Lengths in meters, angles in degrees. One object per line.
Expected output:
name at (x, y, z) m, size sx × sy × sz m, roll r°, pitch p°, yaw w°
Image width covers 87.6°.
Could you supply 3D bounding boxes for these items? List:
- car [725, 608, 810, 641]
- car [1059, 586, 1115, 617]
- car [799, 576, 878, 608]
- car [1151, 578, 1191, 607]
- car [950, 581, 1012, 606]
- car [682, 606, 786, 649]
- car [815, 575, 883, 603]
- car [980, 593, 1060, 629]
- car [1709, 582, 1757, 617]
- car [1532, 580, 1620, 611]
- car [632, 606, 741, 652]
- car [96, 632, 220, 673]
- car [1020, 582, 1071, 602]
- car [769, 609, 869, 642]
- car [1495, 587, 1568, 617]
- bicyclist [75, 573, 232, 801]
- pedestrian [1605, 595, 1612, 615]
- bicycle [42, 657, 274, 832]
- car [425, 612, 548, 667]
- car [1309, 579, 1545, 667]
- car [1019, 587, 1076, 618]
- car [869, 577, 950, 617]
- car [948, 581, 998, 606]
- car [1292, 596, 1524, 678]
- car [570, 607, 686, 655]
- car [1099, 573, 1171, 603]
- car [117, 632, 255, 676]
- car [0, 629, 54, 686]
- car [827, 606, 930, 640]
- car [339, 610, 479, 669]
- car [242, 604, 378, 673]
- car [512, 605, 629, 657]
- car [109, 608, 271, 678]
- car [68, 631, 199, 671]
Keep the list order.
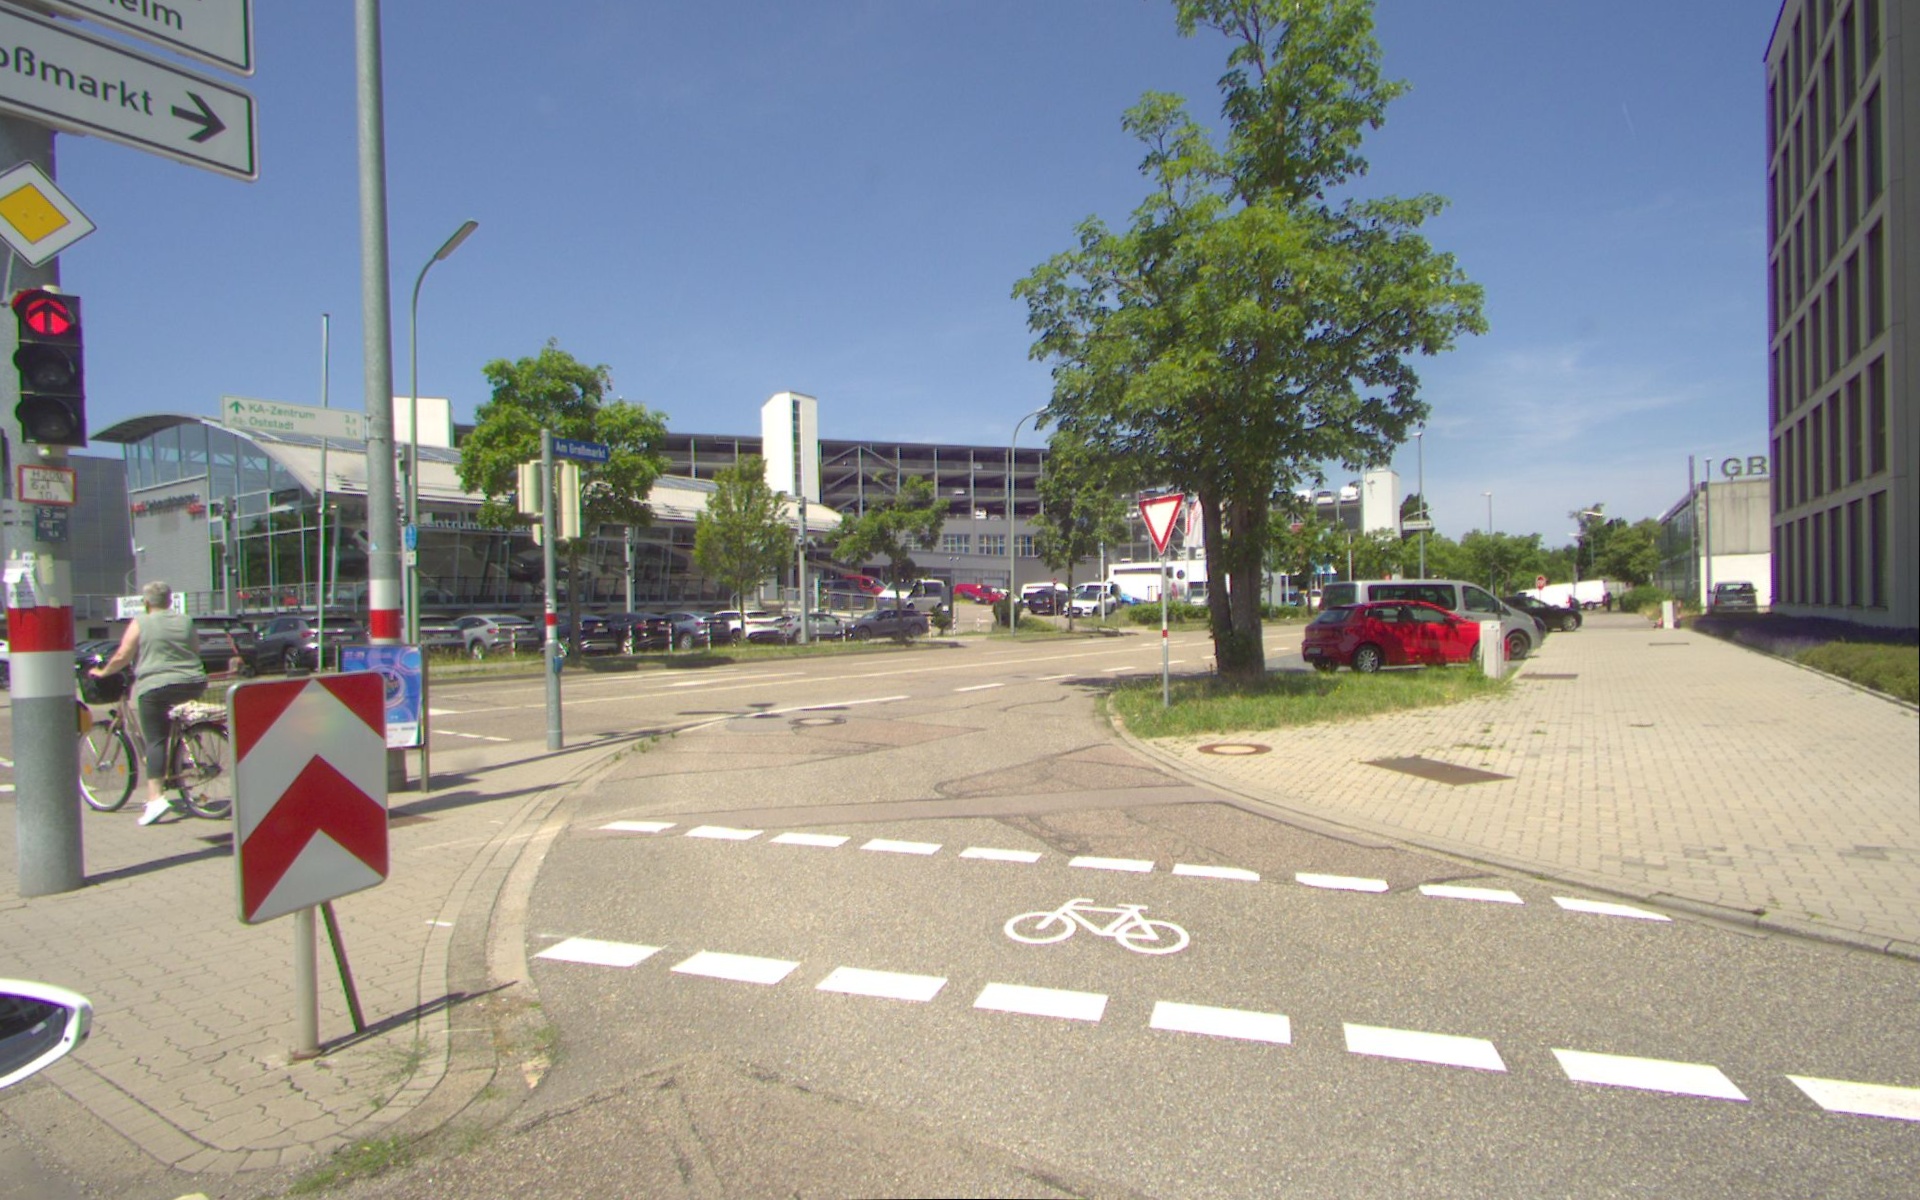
car at (-9.953, 1.240, 51.715) m, size 3.938 × 1.591 × 1.842 m, roll -1°, pitch 0°, yaw -28°
car at (7.663, 0.138, 60.229) m, size 1.970 × 1.727 × 3.983 m, roll -1°, pitch -2°, yaw 30°
car at (-6.810, -0.427, 56.545) m, size 1.888 × 1.730 × 4.560 m, roll -1°, pitch 0°, yaw 35°
car at (16.411, -0.555, 77.674) m, size 1.812 × 2.039 × 3.981 m, roll -1°, pitch -2°, yaw 31°
car at (1.648, -0.494, 78.020) m, size 4.525 × 1.821 × 1.903 m, roll -1°, pitch 0°, yaw 34°
car at (-9.293, 1.159, 41.172) m, size 3.937 × 1.675 × 1.844 m, roll -1°, pitch -3°, yaw 28°
car at (-7.327, -0.714, 66.047) m, size 4.082 × 1.745 × 1.907 m, roll -1°, pitch 0°, yaw 25°
car at (3.069, 0.550, 50.256) m, size 1.888 × 1.717 × 4.560 m, roll -1°, pitch 0°, yaw 35°
car at (42.215, 0.012, 54.752) m, size 1.772 × 1.750 × 3.978 m, roll -1°, pitch -2°, yaw 34°
car at (55.301, -0.355, 89.955) m, size 6.606 × 2.552 × 2.206 m, roll -1°, pitch -2°, yaw 35°
car at (-10.628, 1.159, 38.886) m, size 3.937 × 1.675 × 1.844 m, roll -1°, pitch -3°, yaw 28°
car at (-32.918, 2.161, 41.175) m, size 1.619 × 1.600 × 3.642 m, roll -1°, pitch -3°, yaw 32°
car at (7.850, -0.722, 92.255) m, size 4.294 × 1.674 × 1.904 m, roll -1°, pitch 0°, yaw 31°
car at (-6.976, 1.247, 49.596) m, size 4.527 × 1.491 × 1.902 m, roll -1°, pitch 0°, yaw -34°
car at (41.489, 0.206, 72.701) m, size 4.513 × 2.039 × 1.990 m, roll -1°, pitch -2°, yaw 33°
bicyclist at (-6.124, 0.638, 7.614) m, size 0.812 × 1.626 × 0.628 m, roll -1°, pitch -1°, yaw 26°
pedestrian at (50.998, 0.393, 78.745) m, size 0.399 × 1.580 × 0.546 m, roll -1°, pitch 1°, yaw 33°
bicycle at (-6.101, 1.034, 7.600) m, size 1.864 × 1.148 × 0.628 m, roll 0°, pitch -1°, yaw 26°
car at (-15.075, 1.203, 31.833) m, size 3.758 × 1.637 × 1.635 m, roll 0°, pitch 0°, yaw 28°
car at (10.852, 0.511, 23.370) m, size 4.841 × 1.911 × 1.918 m, roll 0°, pitch 0°, yaw -12°
car at (5.400, 0.181, 61.281) m, size 1.970 × 1.727 × 3.983 m, roll -1°, pitch -2°, yaw 30°
car at (-2.649, -0.147, 54.021) m, size 1.885 × 1.992 × 5.228 m, roll -1°, pitch 0°, yaw 29°
car at (0.982, -0.448, 74.536) m, size 1.859 × 1.728 × 3.977 m, roll -1°, pitch -1°, yaw 33°
car at (8.960, 0.725, 20.180) m, size 3.923 × 1.451 × 1.699 m, roll -2°, pitch -1°, yaw -7°
car at (-12.112, 1.168, 36.523) m, size 3.937 × 1.675 × 1.844 m, roll -1°, pitch -3°, yaw 28°
car at (12.004, -0.782, 68.867) m, size 4.521 × 1.912 × 1.904 m, roll -1°, pitch 0°, yaw 31°
car at (-30.377, 2.114, 39.433) m, size 1.633 × 1.642 × 3.980 m, roll -1°, pitch -3°, yaw 32°
car at (-25.134, 1.401, 24.130) m, size 1.843 × 1.407 × 4.583 m, roll -2°, pitch -3°, yaw 34°
car at (-3.858, 1.063, 47.717) m, size 4.554 × 1.491 × 1.839 m, roll -1°, pitch 0°, yaw -34°
car at (-16.525, 1.199, 30.032) m, size 3.937 × 1.675 × 1.844 m, roll -1°, pitch -3°, yaw 28°
car at (-17.889, 1.097, 27.514) m, size 3.947 × 1.674 × 1.840 m, roll -4°, pitch -4°, yaw 35°
car at (-13.301, 1.070, 34.190) m, size 3.851 × 1.676 × 1.627 m, roll -1°, pitch -1°, yaw 28°
car at (-19.519, 1.109, 25.331) m, size 4.442 × 1.578 × 1.863 m, roll -3°, pitch 0°, yaw 33°
car at (-34.806, 2.133, 42.262) m, size 1.610 × 1.593 × 3.977 m, roll -1°, pitch -3°, yaw 32°
